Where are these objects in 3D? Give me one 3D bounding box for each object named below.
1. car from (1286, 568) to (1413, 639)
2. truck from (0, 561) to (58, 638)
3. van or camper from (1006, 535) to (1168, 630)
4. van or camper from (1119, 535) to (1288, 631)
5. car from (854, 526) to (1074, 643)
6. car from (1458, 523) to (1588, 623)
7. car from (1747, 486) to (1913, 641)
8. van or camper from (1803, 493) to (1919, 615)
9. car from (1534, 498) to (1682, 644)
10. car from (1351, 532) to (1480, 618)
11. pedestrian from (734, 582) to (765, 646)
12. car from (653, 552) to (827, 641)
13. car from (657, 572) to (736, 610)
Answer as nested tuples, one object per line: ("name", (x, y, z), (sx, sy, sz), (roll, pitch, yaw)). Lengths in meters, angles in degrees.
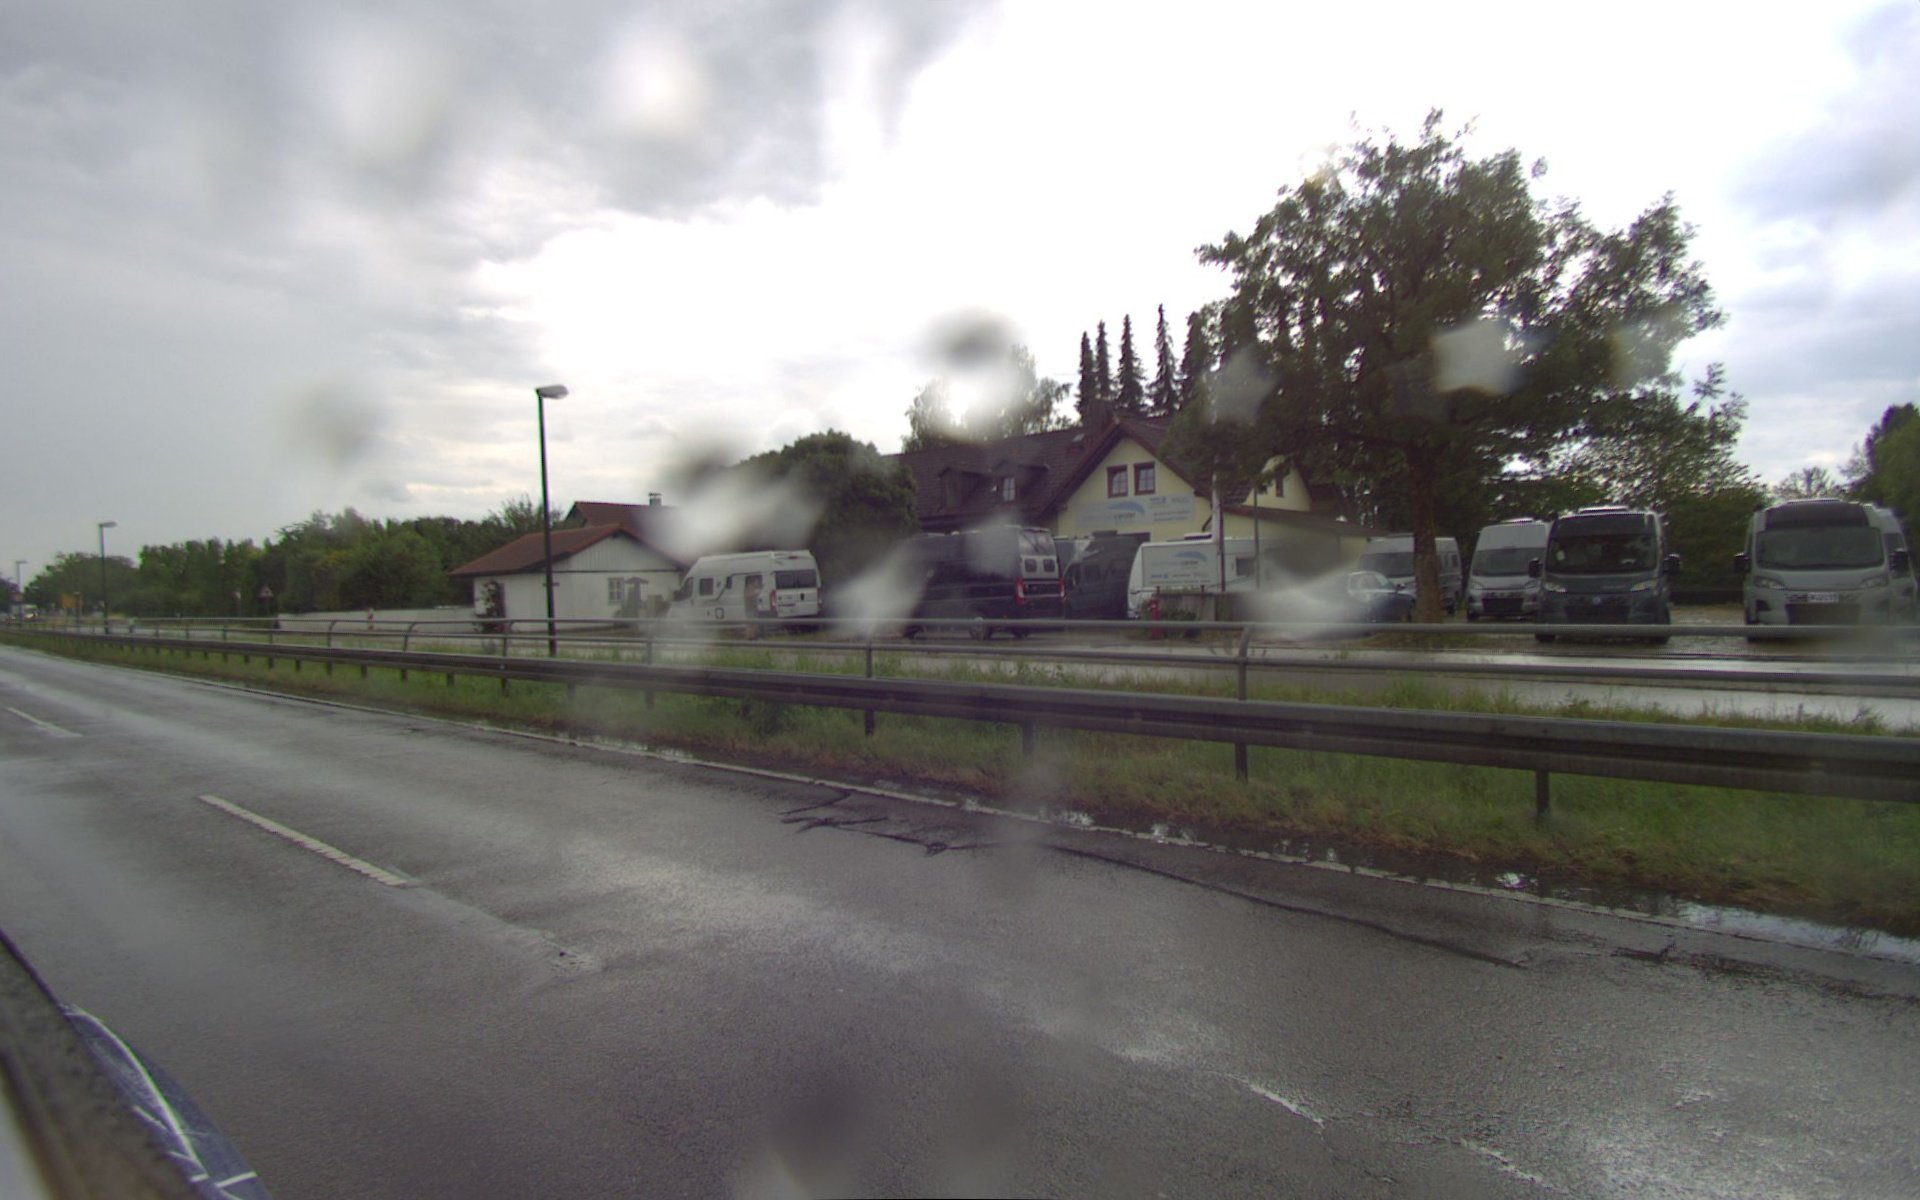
("car", (9.301, 0.040, 24.015), (1.540, 1.507, 3.843), (-1, 1, 42))
("truck", (-66.020, 0.004, 70.707), (7.777, 5.071, 3.216), (-1, 1, 40))
("van or camper", (4.294, -0.599, 33.159), (2.431, 2.822, 5.994), (-2, 1, 39))
("van or camper", (7.554, -0.557, 30.810), (2.559, 2.611, 6.163), (-2, 1, 39))
("car", (0.005, -0.355, 26.711), (5.569, 2.783, 2.359), (-1, 1, 41))
("car", (16.157, -0.776, 28.876), (2.090, 2.557, 6.031), (-1, 1, 40))
("car", (15.946, -0.648, 18.796), (1.997, 2.477, 5.044), (-2, 1, 38))
("van or camper", (21.863, -1.094, 24.532), (1.998, 2.609, 5.748), (-2, 1, 39))
("car", (12.940, -0.566, 20.056), (1.997, 2.520, 5.134), (-2, 1, 38))
("car", (14.459, -0.799, 31.894), (2.090, 2.435, 6.031), (-1, 1, 40))
("pedestrian", (-5.817, 0.374, 27.956), (0.509, 1.723, 0.651), (-2, 1, -41))
("car", (-7.143, -0.087, 32.403), (6.016, 2.600, 2.214), (-1, 1, 41))
("car", (-10.356, -0.355, 39.688), (3.269, 1.366, 1.433), (-1, 1, 42))
